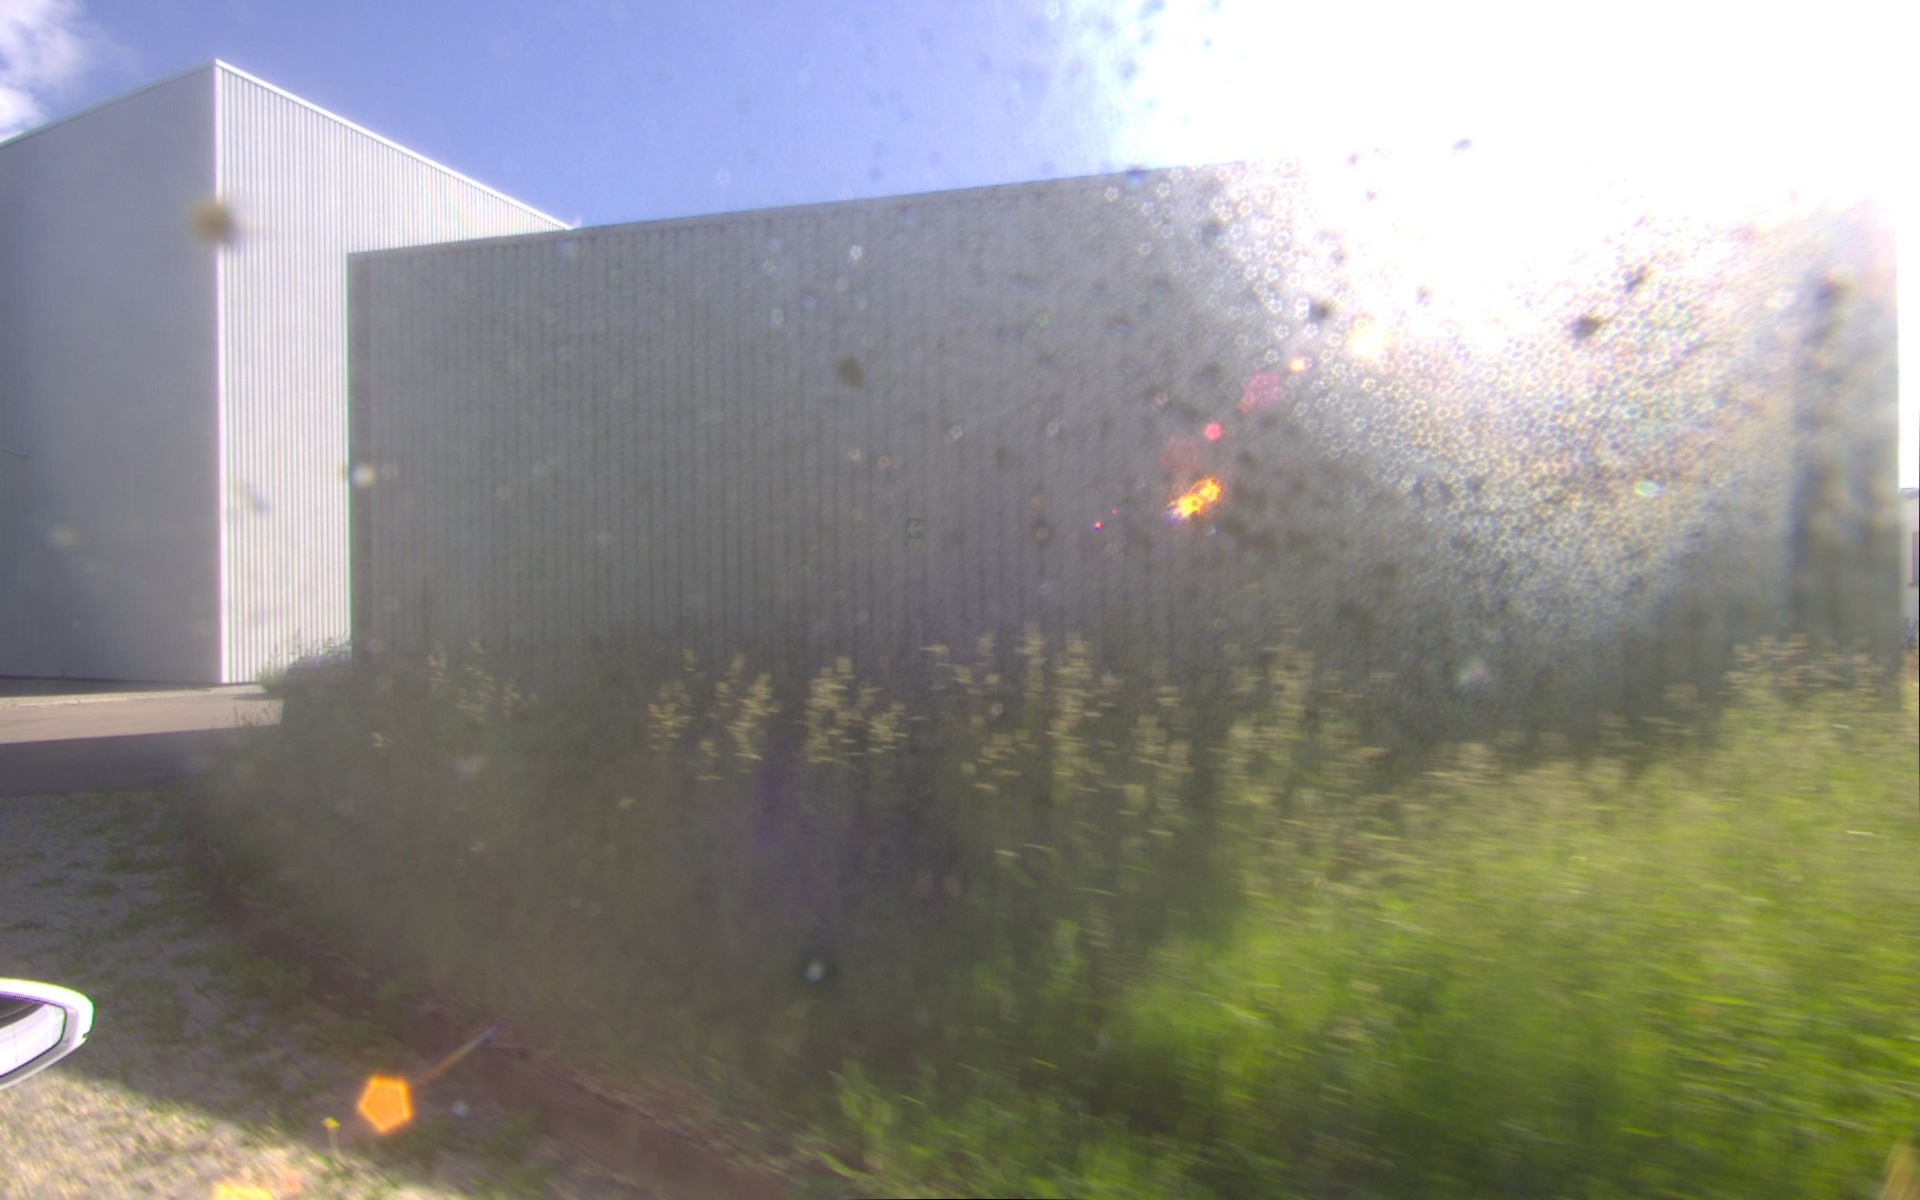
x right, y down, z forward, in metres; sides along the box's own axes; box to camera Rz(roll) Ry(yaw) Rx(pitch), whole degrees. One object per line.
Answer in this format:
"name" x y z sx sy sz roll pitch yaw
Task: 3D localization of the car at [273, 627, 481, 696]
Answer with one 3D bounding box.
"car" -13.239 1.347 23.007 1.645 1.367 3.944 1 -1 23
